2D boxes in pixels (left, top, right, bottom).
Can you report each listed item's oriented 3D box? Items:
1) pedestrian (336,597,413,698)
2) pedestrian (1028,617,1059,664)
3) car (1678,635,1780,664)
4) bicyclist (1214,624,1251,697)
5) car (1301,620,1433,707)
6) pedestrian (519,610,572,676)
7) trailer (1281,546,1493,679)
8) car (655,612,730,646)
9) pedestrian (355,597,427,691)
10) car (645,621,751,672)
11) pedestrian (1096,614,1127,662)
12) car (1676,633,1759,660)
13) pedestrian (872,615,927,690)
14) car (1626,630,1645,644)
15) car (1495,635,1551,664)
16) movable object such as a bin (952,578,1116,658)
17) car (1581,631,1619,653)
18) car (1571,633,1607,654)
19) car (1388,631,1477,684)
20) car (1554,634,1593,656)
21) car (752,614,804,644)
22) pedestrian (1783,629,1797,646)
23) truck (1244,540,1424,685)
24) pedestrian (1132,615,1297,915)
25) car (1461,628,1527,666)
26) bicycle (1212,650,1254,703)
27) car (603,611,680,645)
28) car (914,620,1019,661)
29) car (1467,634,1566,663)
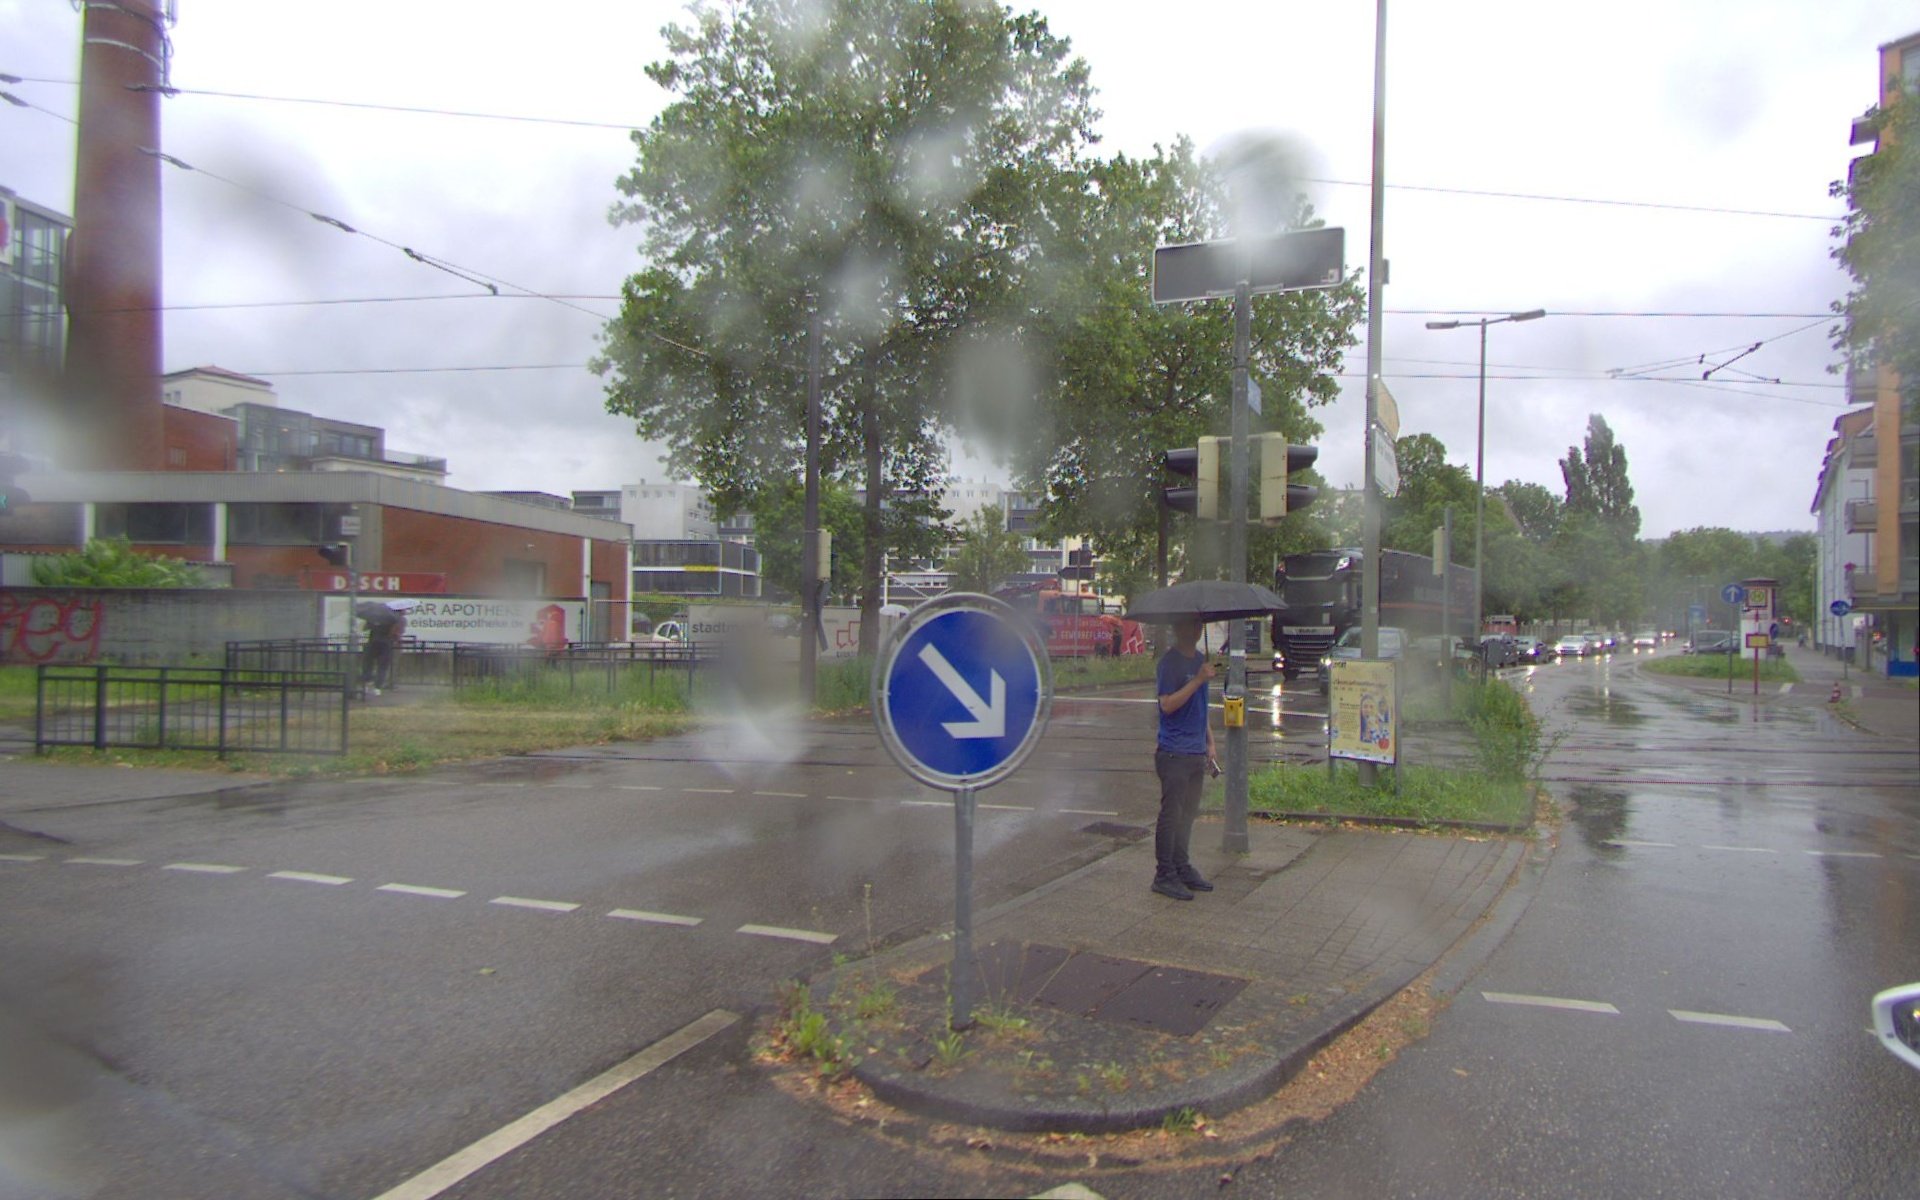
[{"bbox_3d":[-11.160,0.889,19.168,0.936,1.887,0.849,0,-1,12],"label":"pedestrian"},{"bbox_3d":[2.727,1.312,32.782,0.762,1.535,0.638,1,-1,-29],"label":"pedestrian"},{"bbox_3d":[43.248,2.751,56.553,4.479,1.489,1.974,-1,-2,40],"label":"car"},{"bbox_3d":[5.771,1.261,21.224,0.570,1.480,1.010,0,-1,26],"label":"bicyclist"},{"bbox_3d":[10.069,1.444,24.590,2.045,1.705,4.916,3,2,33],"label":"car"},{"bbox_3d":[-9.769,0.995,23.698,0.812,1.524,0.849,0,-1,12],"label":"pedestrian"},{"bbox_3d":[16.619,0.545,37.889,3.401,4.102,14.983,0,-1,39],"label":"trailer"},{"bbox_3d":[-14.469,1.534,54.589,2.125,1.764,4.809,1,-1,9],"label":"car"},{"bbox_3d":[-11.645,0.889,20.583,0.936,1.887,0.849,0,-1,12],"label":"pedestrian"},{"bbox_3d":[-7.860,1.341,29.951,1.827,1.339,3.627,1,0,-37],"label":"car"},{"bbox_3d":[5.333,1.328,35.432,0.891,1.671,0.753,1,-1,-7],"label":"pedestrian"},{"bbox_3d":[48.247,2.966,64.045,4.137,1.589,1.881,0,-2,38],"label":"car"},{"bbox_3d":[-1.664,1.432,27.743,0.898,1.990,1.209,0,-1,39],"label":"pedestrian"},{"bbox_3d":[84.123,4.632,125.134,1.750,1.550,3.990,1,1,32],"label":"car"},{"bbox_3d":[29.194,2.544,52.037,1.707,1.379,4.316,-1,-2,40],"label":"car"},{"bbox_3d":[2.844,0.678,40.550,2.752,2.969,6.700,1,-1,-40],"label":"movable object such as a bin"},{"bbox_3d":[50.291,3.279,78.876,1.892,1.661,4.799,1,-1,40],"label":"car"},{"bbox_3d":[46.074,3.191,73.522,1.757,1.439,4.246,0,-1,39],"label":"car"},{"bbox_3d":[14.109,1.653,29.882,1.676,1.391,4.086,0,-1,35],"label":"car"},{"bbox_3d":[41.475,3.022,67.863,1.752,1.422,4.812,1,-1,37],"label":"car"},{"bbox_3d":[-11.219,1.758,62.238,1.960,1.760,4.589,1,-1,5],"label":"car"},{"bbox_3d":[92.113,4.167,111.457,1.051,1.835,1.087,1,-1,44],"label":"pedestrian"},{"bbox_3d":[12.241,0.418,32.468,3.408,4.133,6.943,1,-1,39],"label":"truck"},{"bbox_3d":[1.487,0.889,5.833,0.847,1.602,0.642,0,-1,23],"label":"pedestrian"},{"bbox_3d":[25.259,2.244,47.445,1.845,1.640,4.781,0,-3,40],"label":"car"},{"bbox_3d":[5.794,1.590,21.250,0.523,1.038,1.873,0,-1,26],"label":"bicycle"},{"bbox_3d":[-17.469,1.501,55.368,2.125,1.764,4.809,1,-1,9],"label":"car"},{"bbox_3d":[0.210,1.438,36.446,1.831,1.339,3.619,2,0,-43],"label":"car"},{"bbox_3d":[31.747,2.742,57.466,2.053,1.473,4.909,1,-1,-18],"label":"car"}]
